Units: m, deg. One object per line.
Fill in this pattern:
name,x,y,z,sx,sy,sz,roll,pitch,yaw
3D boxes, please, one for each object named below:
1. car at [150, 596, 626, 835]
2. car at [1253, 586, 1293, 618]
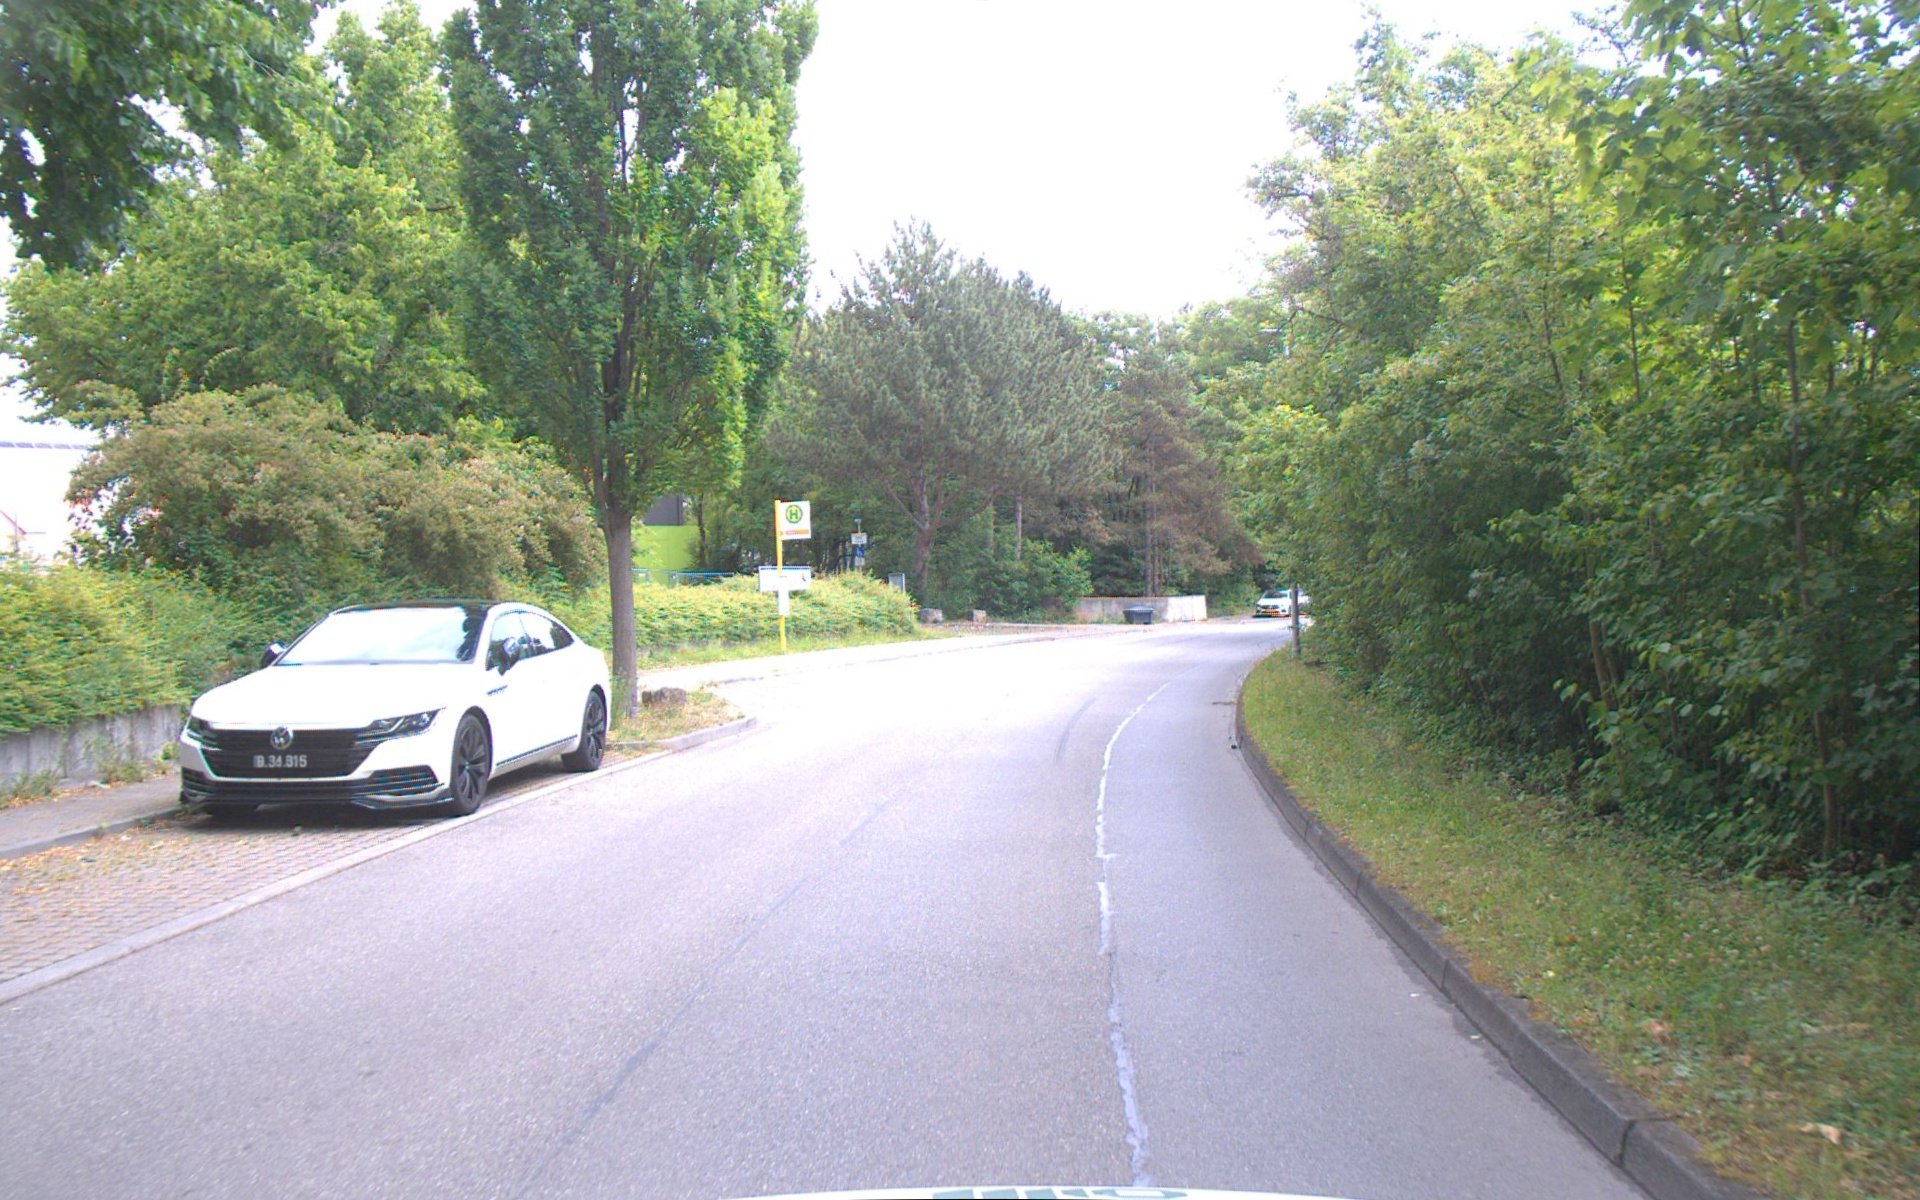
car,-3.947,0.705,12.300,1.776,1.449,4.363,0,0,4
car,16.742,0.091,88.424,1.682,1.576,3.726,-2,1,16
